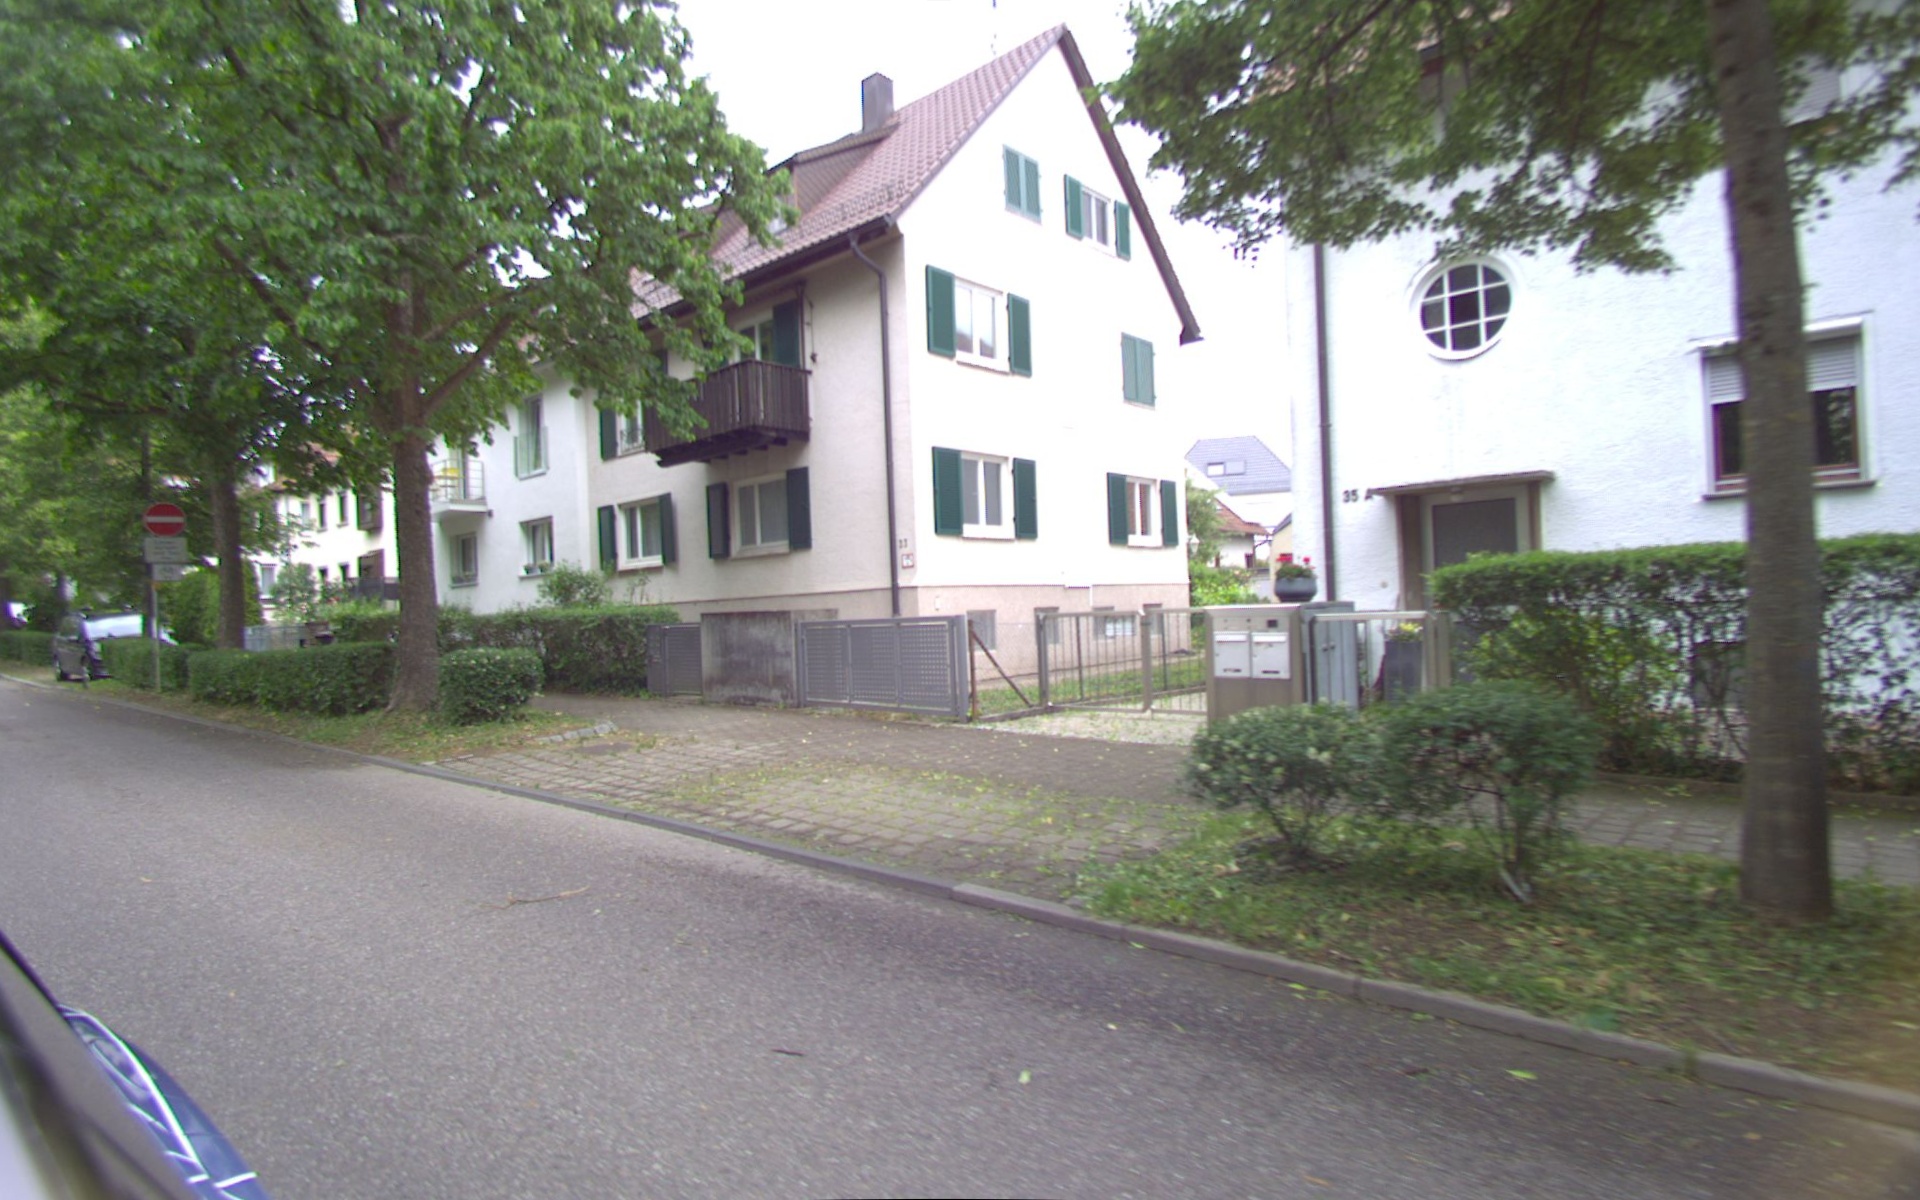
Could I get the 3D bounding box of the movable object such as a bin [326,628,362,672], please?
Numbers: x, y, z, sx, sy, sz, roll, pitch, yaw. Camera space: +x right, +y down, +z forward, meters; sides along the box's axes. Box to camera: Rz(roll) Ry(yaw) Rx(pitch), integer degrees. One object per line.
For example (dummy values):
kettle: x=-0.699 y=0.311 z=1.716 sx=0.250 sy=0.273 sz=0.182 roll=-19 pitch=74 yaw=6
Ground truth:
movable object such as a bin: x=-15.067 y=1.218 z=24.740 sx=0.600 sy=1.033 sz=0.554 roll=-1 pitch=-1 yaw=35

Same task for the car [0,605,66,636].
car: x=-73.919 y=1.617 z=78.830 sx=1.961 sy=2.365 sz=6.331 roll=-1 pitch=-1 yaw=19

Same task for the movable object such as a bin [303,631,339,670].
movable object such as a bin: x=-16.124 y=1.275 z=25.533 sx=0.639 sy=0.947 sz=0.554 roll=-1 pitch=-1 yaw=35

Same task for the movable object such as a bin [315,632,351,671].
movable object such as a bin: x=-15.566 y=1.267 z=25.140 sx=0.639 sy=0.947 sz=0.554 roll=-1 pitch=-1 yaw=35

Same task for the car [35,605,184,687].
car: x=-20.528 y=1.068 z=24.360 sx=4.446 sy=1.767 sz=1.808 roll=-2 pitch=0 yaw=38
